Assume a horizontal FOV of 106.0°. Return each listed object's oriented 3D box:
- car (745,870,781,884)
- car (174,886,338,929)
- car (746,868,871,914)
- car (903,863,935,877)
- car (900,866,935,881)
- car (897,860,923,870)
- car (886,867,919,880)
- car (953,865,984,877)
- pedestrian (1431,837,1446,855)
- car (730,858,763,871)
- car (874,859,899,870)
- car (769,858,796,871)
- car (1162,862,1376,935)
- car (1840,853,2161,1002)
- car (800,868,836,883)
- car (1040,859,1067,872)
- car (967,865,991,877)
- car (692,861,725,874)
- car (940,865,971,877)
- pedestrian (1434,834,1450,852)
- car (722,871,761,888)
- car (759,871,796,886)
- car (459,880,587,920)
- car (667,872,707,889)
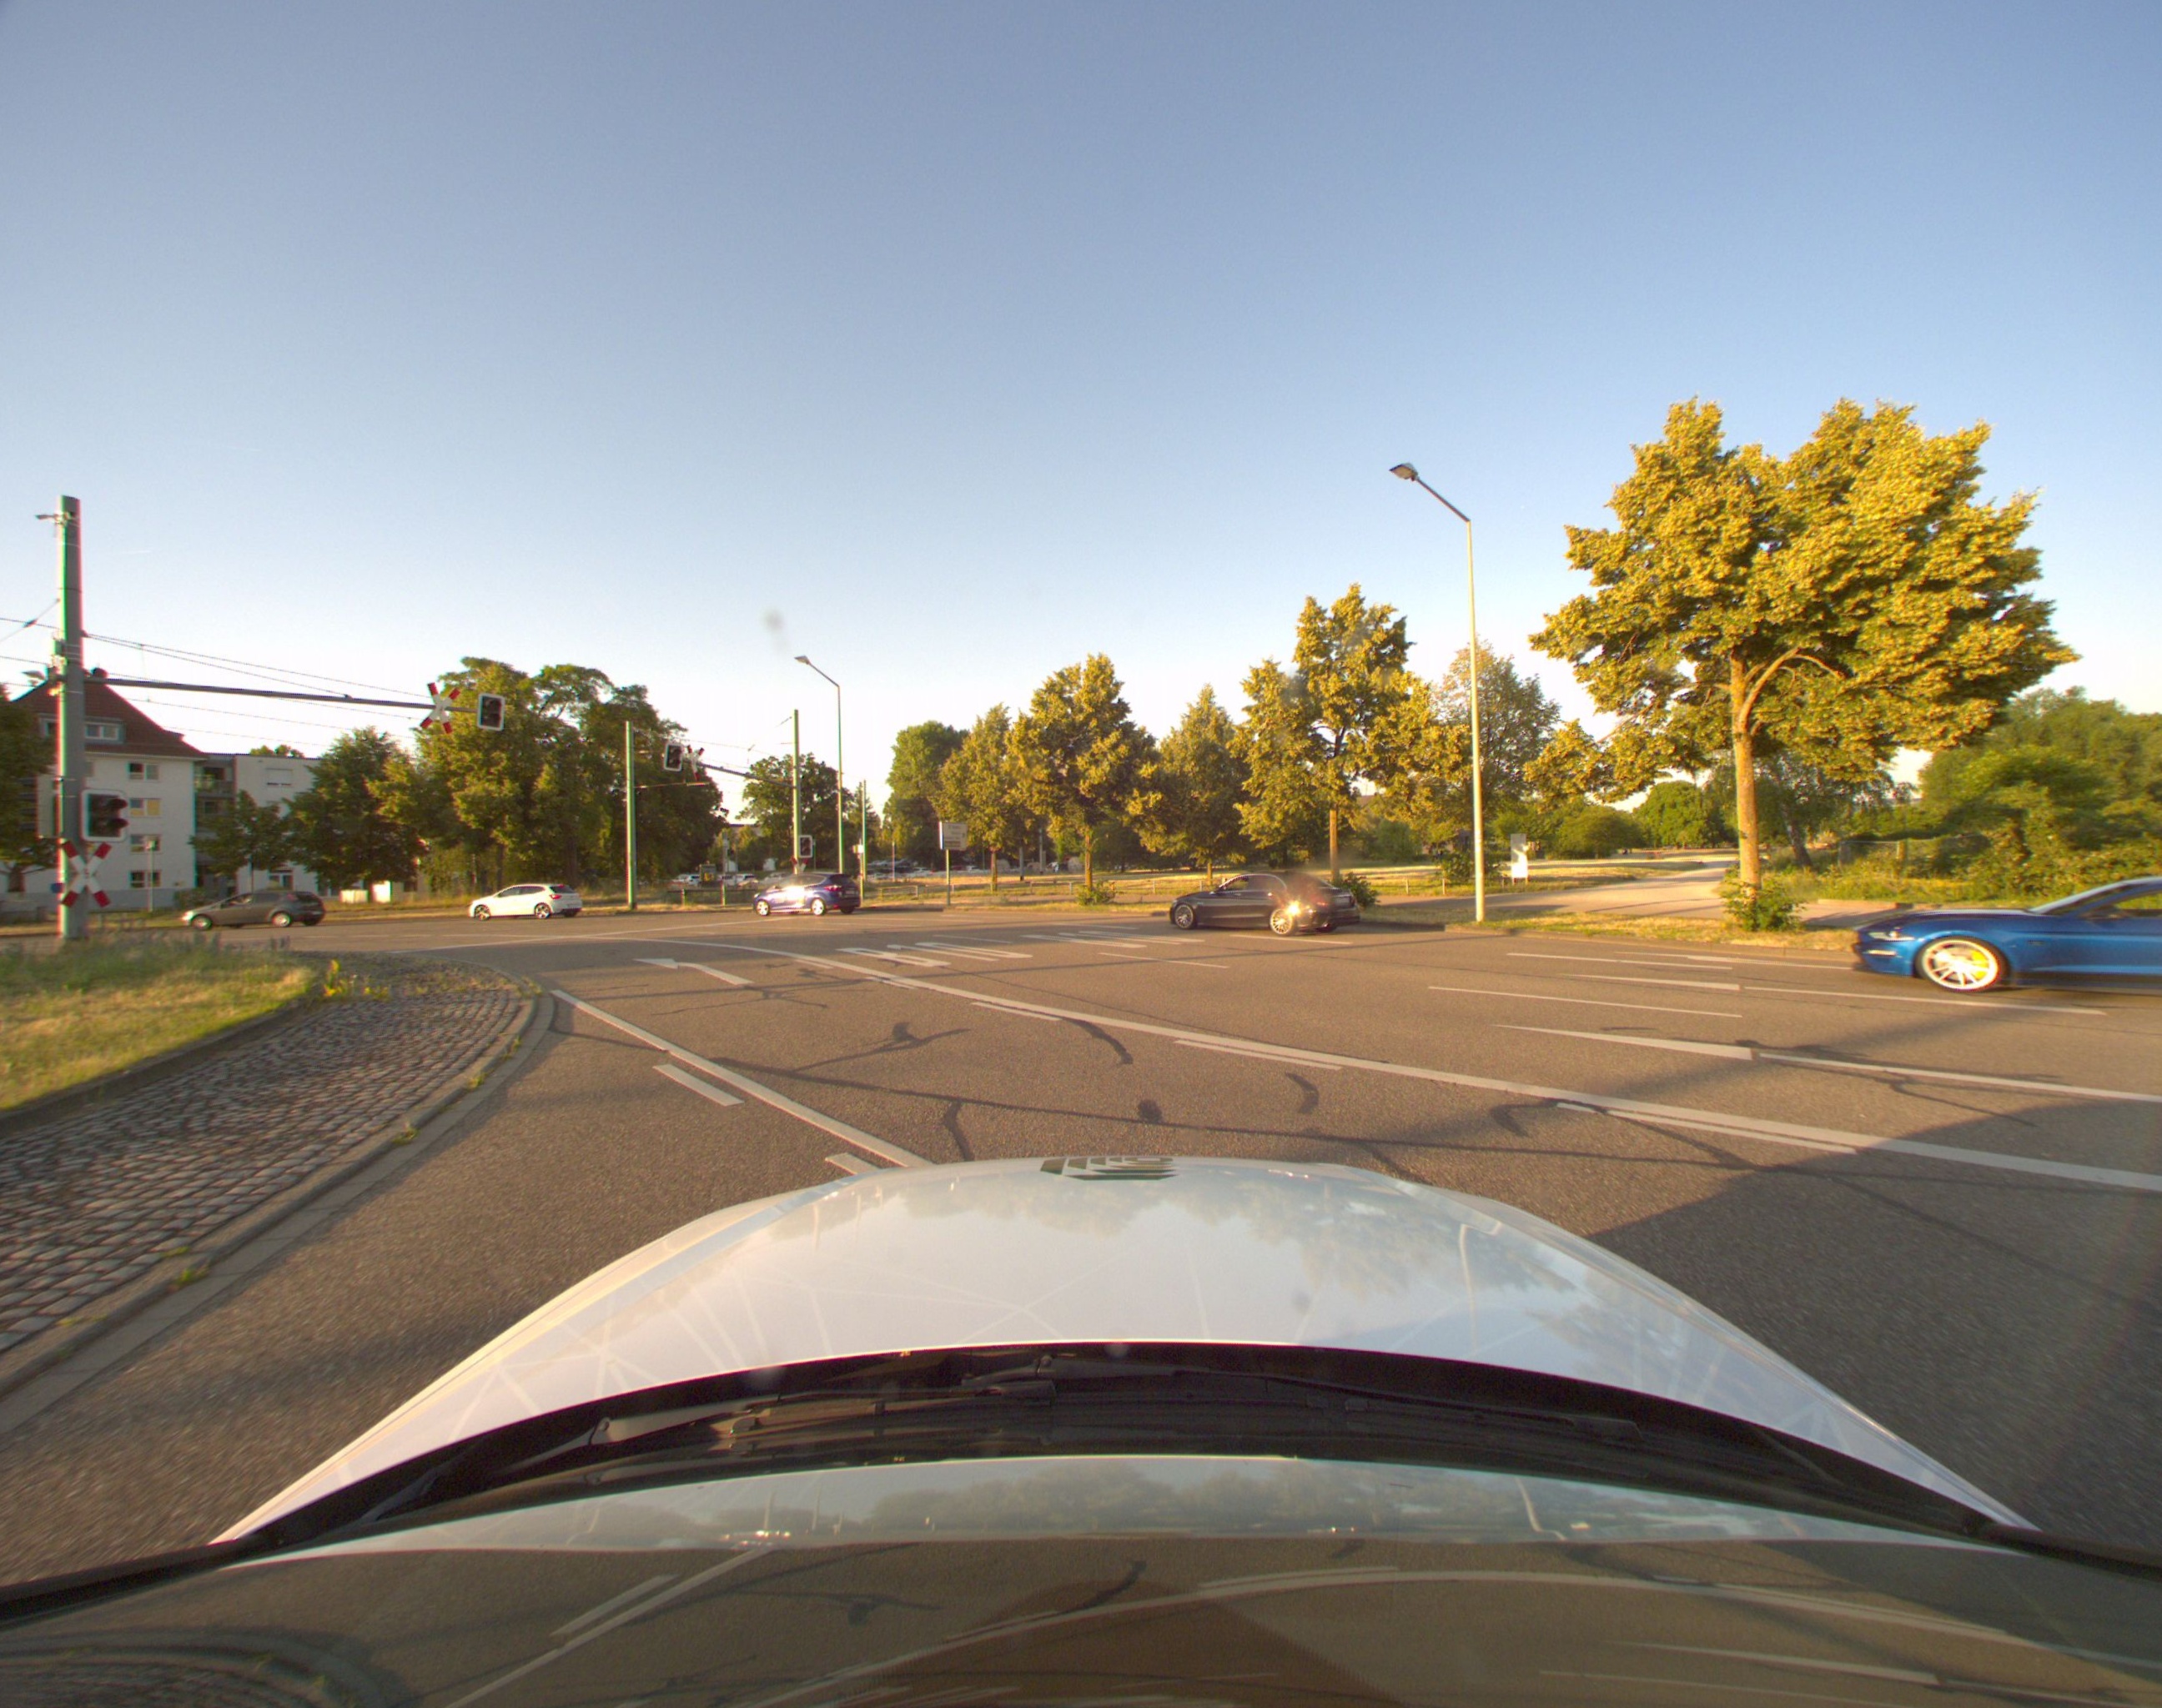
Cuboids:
[{"bbox_3d":[-42.133,3.036,107.888,1.878,1.662,4.025,-2,0,39],"label":"car"},{"bbox_3d":[-32.422,2.069,32.132,4.151,1.454,1.860,-1,0,-12],"label":"car"},{"bbox_3d":[-10.266,1.385,30.710,4.131,1.583,1.926,-2,0,21],"label":"car"},{"bbox_3d":[-24.802,2.482,124.819,4.575,2.014,1.997,-2,0,-5],"label":"car"},{"bbox_3d":[-23.352,2.745,116.570,4.575,2.014,1.997,-2,0,-5],"label":"car"},{"bbox_3d":[-30.347,1.968,144.794,3.961,1.706,2.006,-1,0,10],"label":"car"},{"bbox_3d":[-22.832,2.532,104.009,3.948,1.604,2.013,-2,0,37],"label":"car"},{"bbox_3d":[-15.777,2.443,114.255,3.948,1.604,2.013,-2,0,37],"label":"car"},{"bbox_3d":[32.893,-0.742,74.959,1.064,1.617,0.912,-1,0,6],"label":"pedestrian"},{"bbox_3d":[-56.824,1.818,138.395,1.974,2.013,4.627,-2,0,38],"label":"car"},{"bbox_3d":[-36.163,1.964,151.604,1.974,1.816,4.025,-2,0,39],"label":"car"},{"bbox_3d":[-52.734,1.852,143.846,1.974,2.013,4.142,-2,0,38],"label":"car"},{"bbox_3d":[4.256,0.959,19.033,2.011,1.505,4.565,1,-2,-41],"label":"car"},{"bbox_3d":[11.770,0.757,9.106,4.712,1.505,2.012,-2,0,45],"label":"car"},{"bbox_3d":[-30.238,2.475,93.713,3.948,1.604,2.013,-2,0,37],"label":"car"},{"bbox_3d":[-3.800,1.612,112.590,1.747,1.618,3.955,-1,0,-37],"label":"car"},{"bbox_3d":[-15.972,2.613,127.545,2.007,1.752,4.551,-1,1,-33],"label":"car"},{"bbox_3d":[-60.738,2.251,132.843,1.974,2.013,4.628,-2,0,34],"label":"car"},{"bbox_3d":[-17.312,2.382,112.615,3.948,1.604,2.013,-2,0,37],"label":"car"},{"bbox_3d":[32.512,-0.964,73.362,1.064,1.617,0.912,-1,0,6],"label":"pedestrian"},{"bbox_3d":[-35.842,2.693,86.023,3.948,1.604,2.013,-2,0,37],"label":"car"},{"bbox_3d":[-33.710,2.723,90.469,3.948,1.604,2.013,-2,0,37],"label":"car"},{"bbox_3d":[-22.751,1.849,33.304,3.942,1.454,1.869,-1,0,3],"label":"car"},{"bbox_3d":[-39.623,2.674,81.940,3.948,1.604,2.013,-2,0,37],"label":"car"}]
